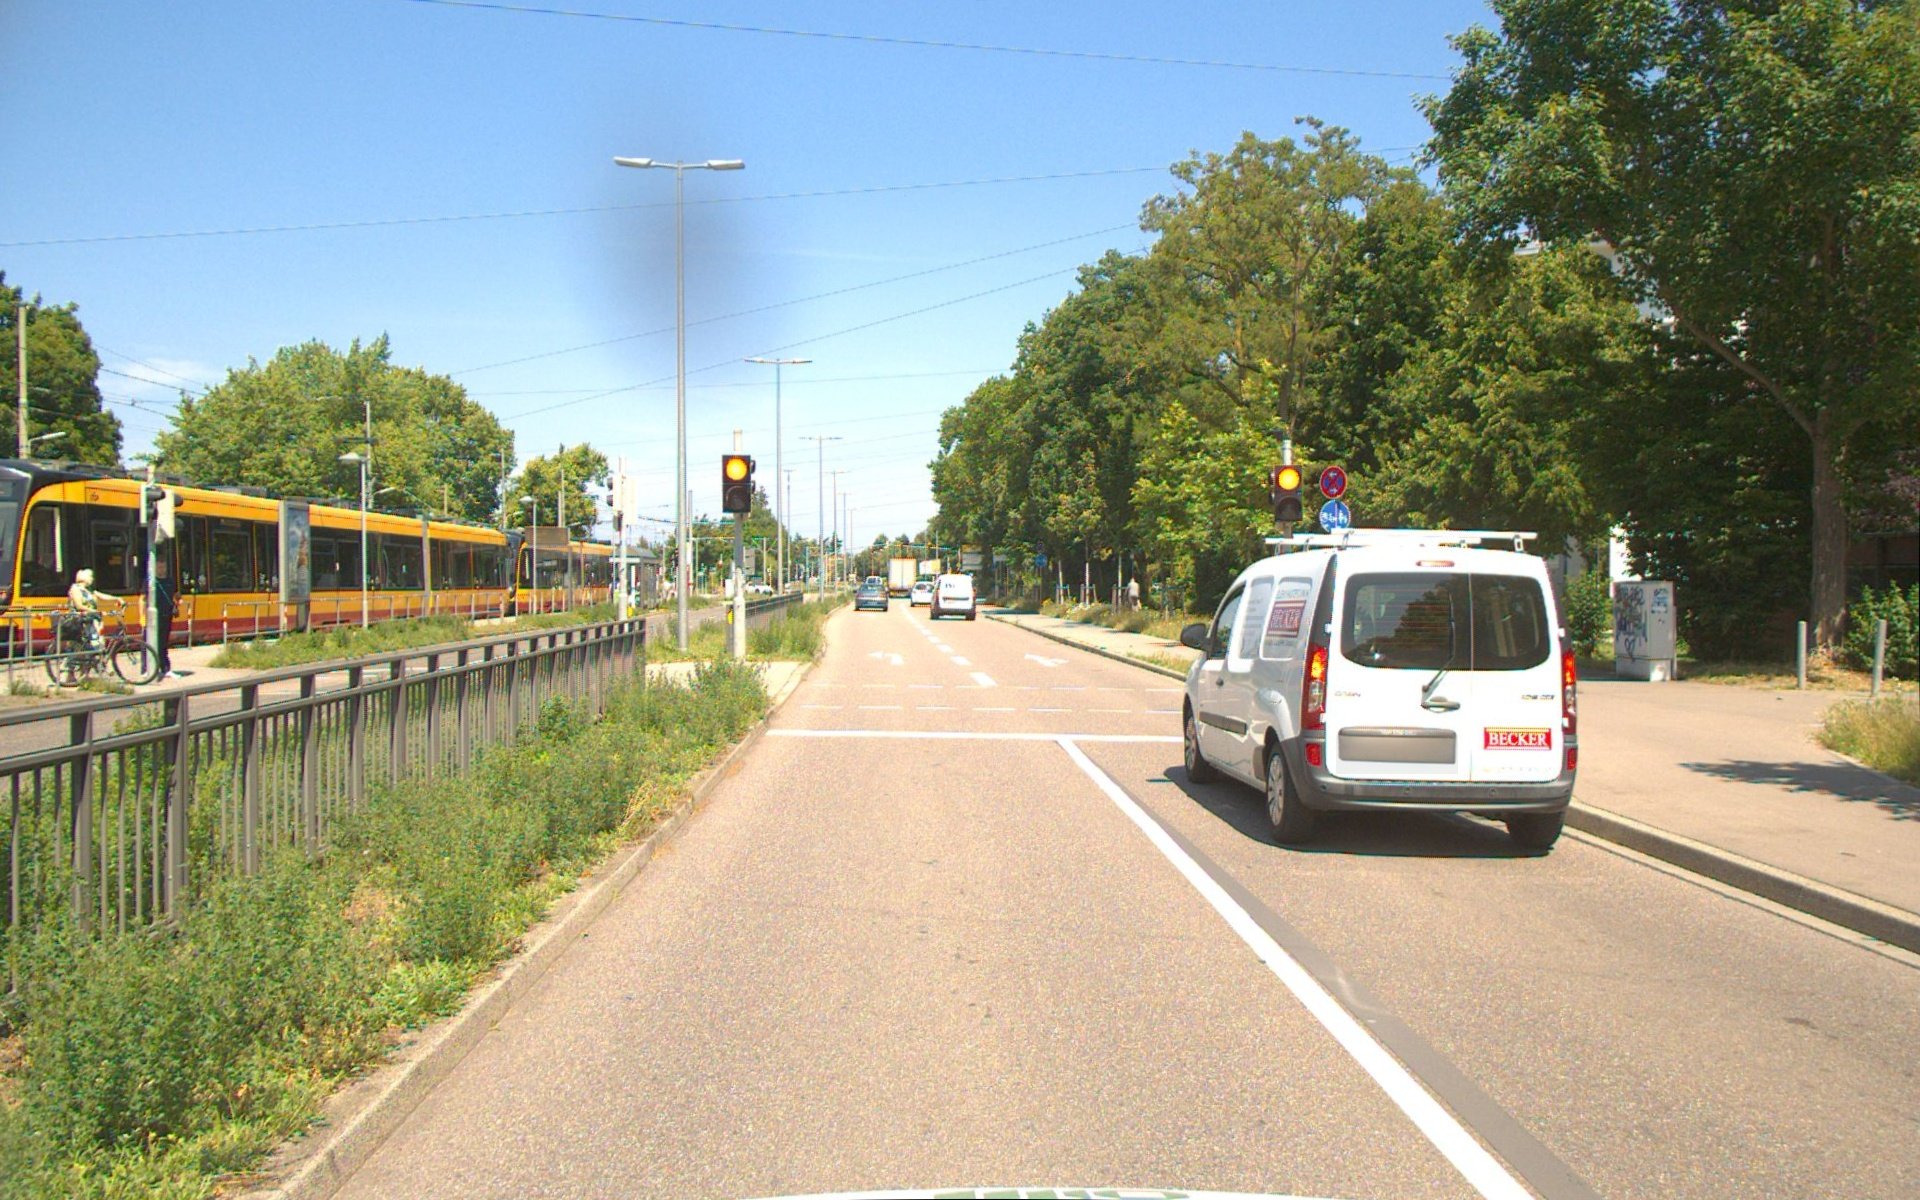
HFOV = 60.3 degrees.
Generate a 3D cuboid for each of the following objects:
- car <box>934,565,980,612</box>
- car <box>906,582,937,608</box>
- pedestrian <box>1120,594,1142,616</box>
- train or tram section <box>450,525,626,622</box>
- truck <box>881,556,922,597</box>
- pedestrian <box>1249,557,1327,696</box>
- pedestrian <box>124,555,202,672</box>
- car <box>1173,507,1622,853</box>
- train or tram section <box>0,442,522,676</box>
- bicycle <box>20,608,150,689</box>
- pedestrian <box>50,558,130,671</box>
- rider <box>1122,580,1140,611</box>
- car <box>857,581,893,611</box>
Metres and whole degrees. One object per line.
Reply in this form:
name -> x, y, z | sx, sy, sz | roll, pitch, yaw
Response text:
car -> -0.086, -0.492, 67.576 | 1.692, 1.845, 4.001 | 1, 1, 2
car -> -2.387, -0.334, 102.346 | 1.767, 1.566, 3.997 | 0, 0, -4
pedestrian -> 7.076, 0.198, 68.493 | 0.664, 0.862, 1.773 | 0, 0, -3
train or tram section -> -18.870, -1.129, 76.703 | 2.732, 3.732, 25.985 | 0, 1, -3
truck -> -5.825, -2.297, 161.738 | 3.821, 3.879, 10.786 | 0, 1, -3
pedestrian -> 4.544, 0.355, 22.959 | 1.024, 1.882, 0.758 | 1, 0, 11
pedestrian -> -12.753, 0.204, 26.469 | 0.939, 1.828, 0.704 | 0, 0, 26
car -> 2.756, 0.432, 11.535 | 1.787, 1.914, 4.454 | 1, 1, -2
train or tram section -> -17.351, -0.835, 45.028 | 2.732, 3.732, 37.498 | 0, 1, -3
bicycle -> -12.986, 0.721, 24.547 | 1.824, 1.177, 0.243 | 0, 0, 2
pedestrian -> -12.957, 0.212, 24.642 | 0.802, 1.657, 0.705 | 0, 0, 3
rider -> 7.089, -0.183, 68.437 | 0.664, 1.304, 0.533 | 0, 0, -3
car -> -4.358, -0.232, 84.689 | 1.766, 1.512, 3.998 | 0, 1, -3
